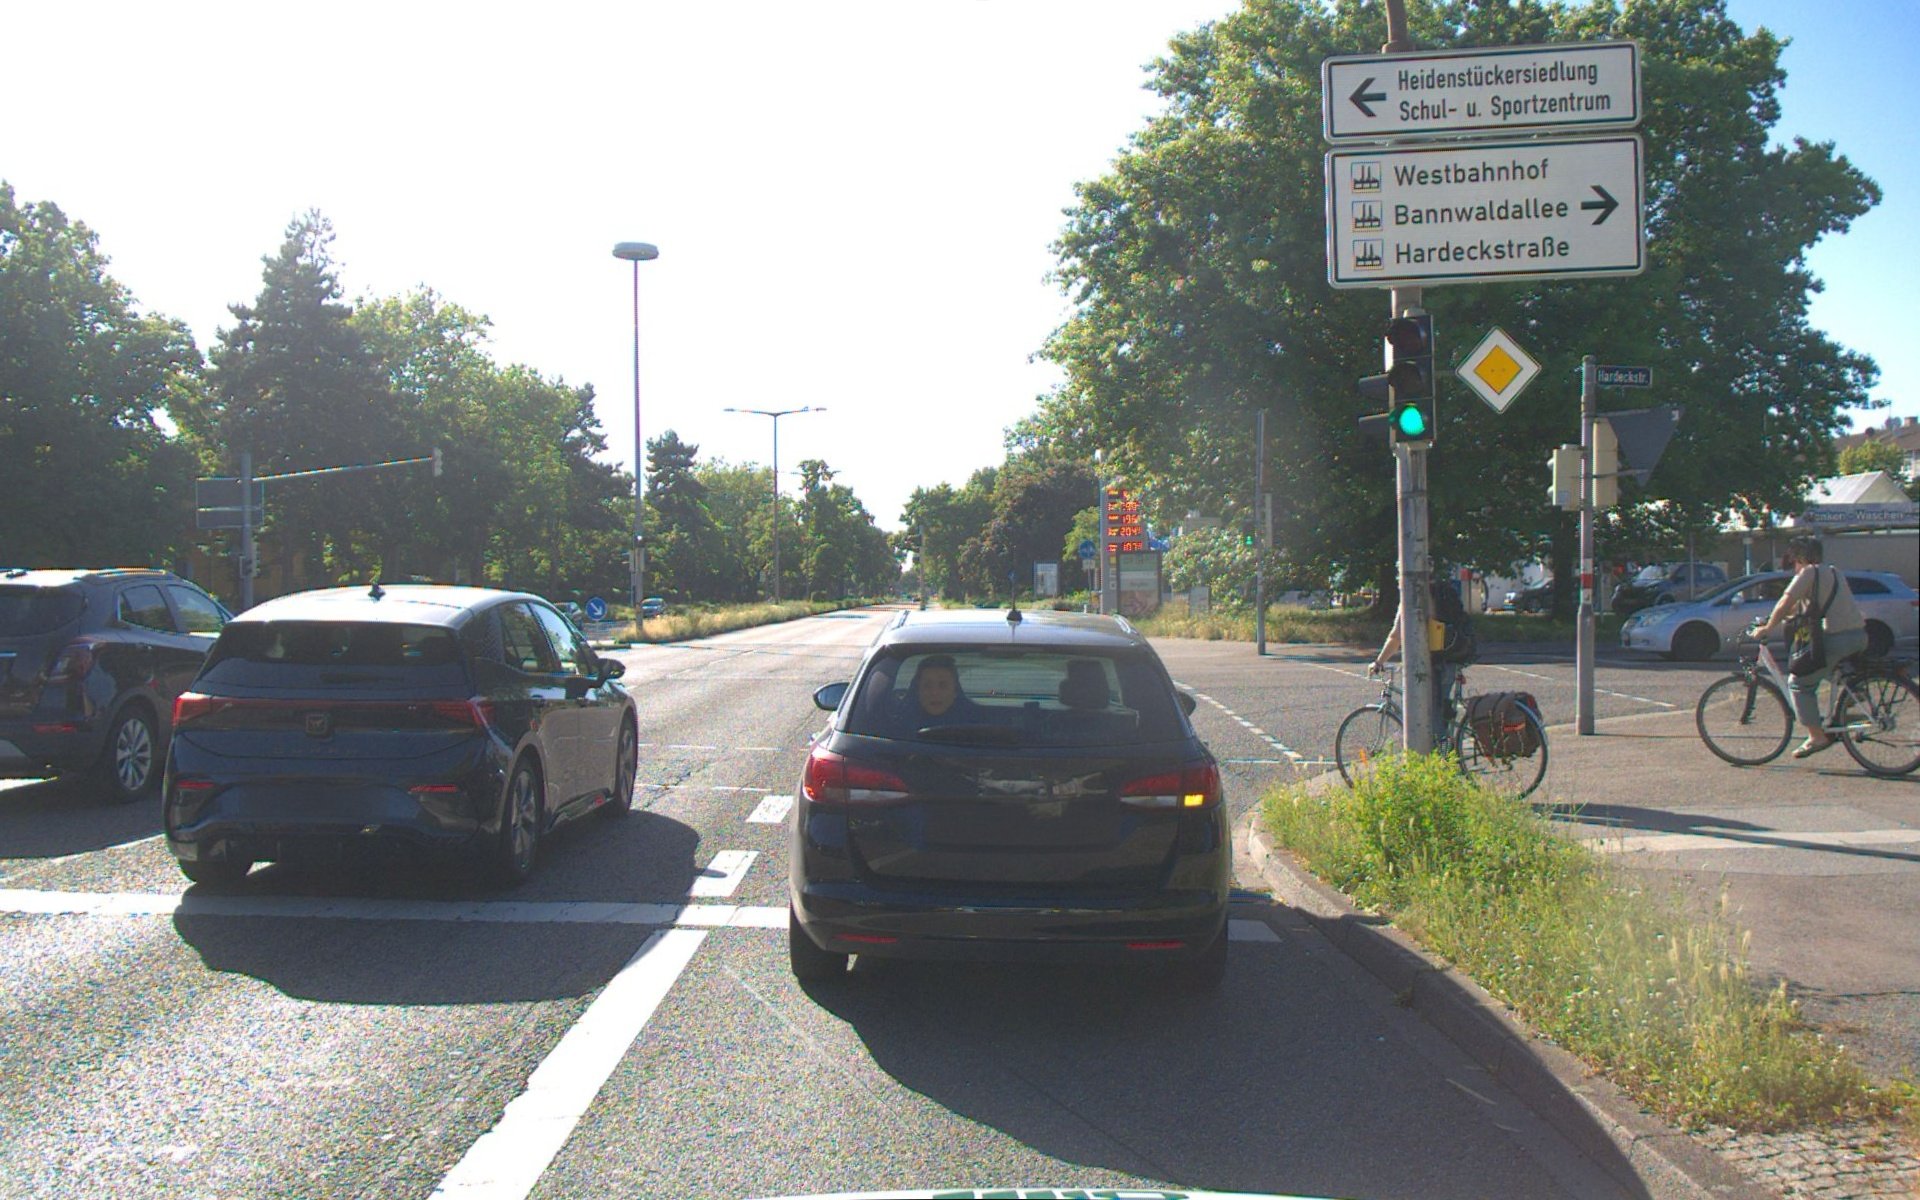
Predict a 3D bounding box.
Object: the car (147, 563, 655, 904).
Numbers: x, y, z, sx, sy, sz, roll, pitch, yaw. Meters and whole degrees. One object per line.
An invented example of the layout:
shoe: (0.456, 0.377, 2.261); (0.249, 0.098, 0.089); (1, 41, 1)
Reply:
car: (-3.027, 0.646, 9.926); (1.650, 1.608, 4.206); (0, 0, -1)

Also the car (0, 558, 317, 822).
car: (-6.651, 0.598, 12.824); (1.768, 1.719, 3.999); (-1, 0, -1)

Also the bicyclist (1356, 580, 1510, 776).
bicyclist: (3.282, 0.536, 11.501); (0.533, 1.299, 0.816); (-1, -2, -44)

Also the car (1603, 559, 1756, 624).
car: (20.137, -0.257, 46.286); (3.934, 1.709, 1.733); (-1, 0, -24)

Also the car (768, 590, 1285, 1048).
car: (0.202, 0.748, 7.640); (1.720, 1.521, 4.206); (0, 0, -1)

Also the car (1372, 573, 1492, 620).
car: (16.609, -0.128, 58.158); (3.837, 1.544, 1.733); (-1, 0, -24)

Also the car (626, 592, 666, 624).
car: (-21.296, 0.510, 112.259); (1.953, 2.049, 3.999); (-2, 0, -1)

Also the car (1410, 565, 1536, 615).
car: (17.078, -0.331, 55.083); (3.837, 1.544, 1.733); (-1, 0, -24)

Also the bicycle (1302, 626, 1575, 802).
bicycle: (3.289, 0.782, 11.498); (0.533, 1.117, 1.748); (-1, -2, -43)

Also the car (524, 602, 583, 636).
car: (-20.264, 0.927, 82.577); (1.953, 1.557, 3.999); (-2, 0, -1)

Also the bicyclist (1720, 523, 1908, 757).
bicyclist: (6.170, 0.288, 11.978); (0.573, 1.609, 0.987); (-2, -2, -30)

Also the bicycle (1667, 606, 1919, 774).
bicycle: (6.185, 0.636, 11.969); (0.573, 1.117, 1.967); (-2, -2, -30)

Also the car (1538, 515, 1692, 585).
car: (19.044, -1.410, 48.083); (3.935, 1.780, 1.985); (2, -1, -24)

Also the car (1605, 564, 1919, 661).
car: (13.641, 0.206, 27.807); (4.897, 1.512, 2.002); (-1, 0, 11)
